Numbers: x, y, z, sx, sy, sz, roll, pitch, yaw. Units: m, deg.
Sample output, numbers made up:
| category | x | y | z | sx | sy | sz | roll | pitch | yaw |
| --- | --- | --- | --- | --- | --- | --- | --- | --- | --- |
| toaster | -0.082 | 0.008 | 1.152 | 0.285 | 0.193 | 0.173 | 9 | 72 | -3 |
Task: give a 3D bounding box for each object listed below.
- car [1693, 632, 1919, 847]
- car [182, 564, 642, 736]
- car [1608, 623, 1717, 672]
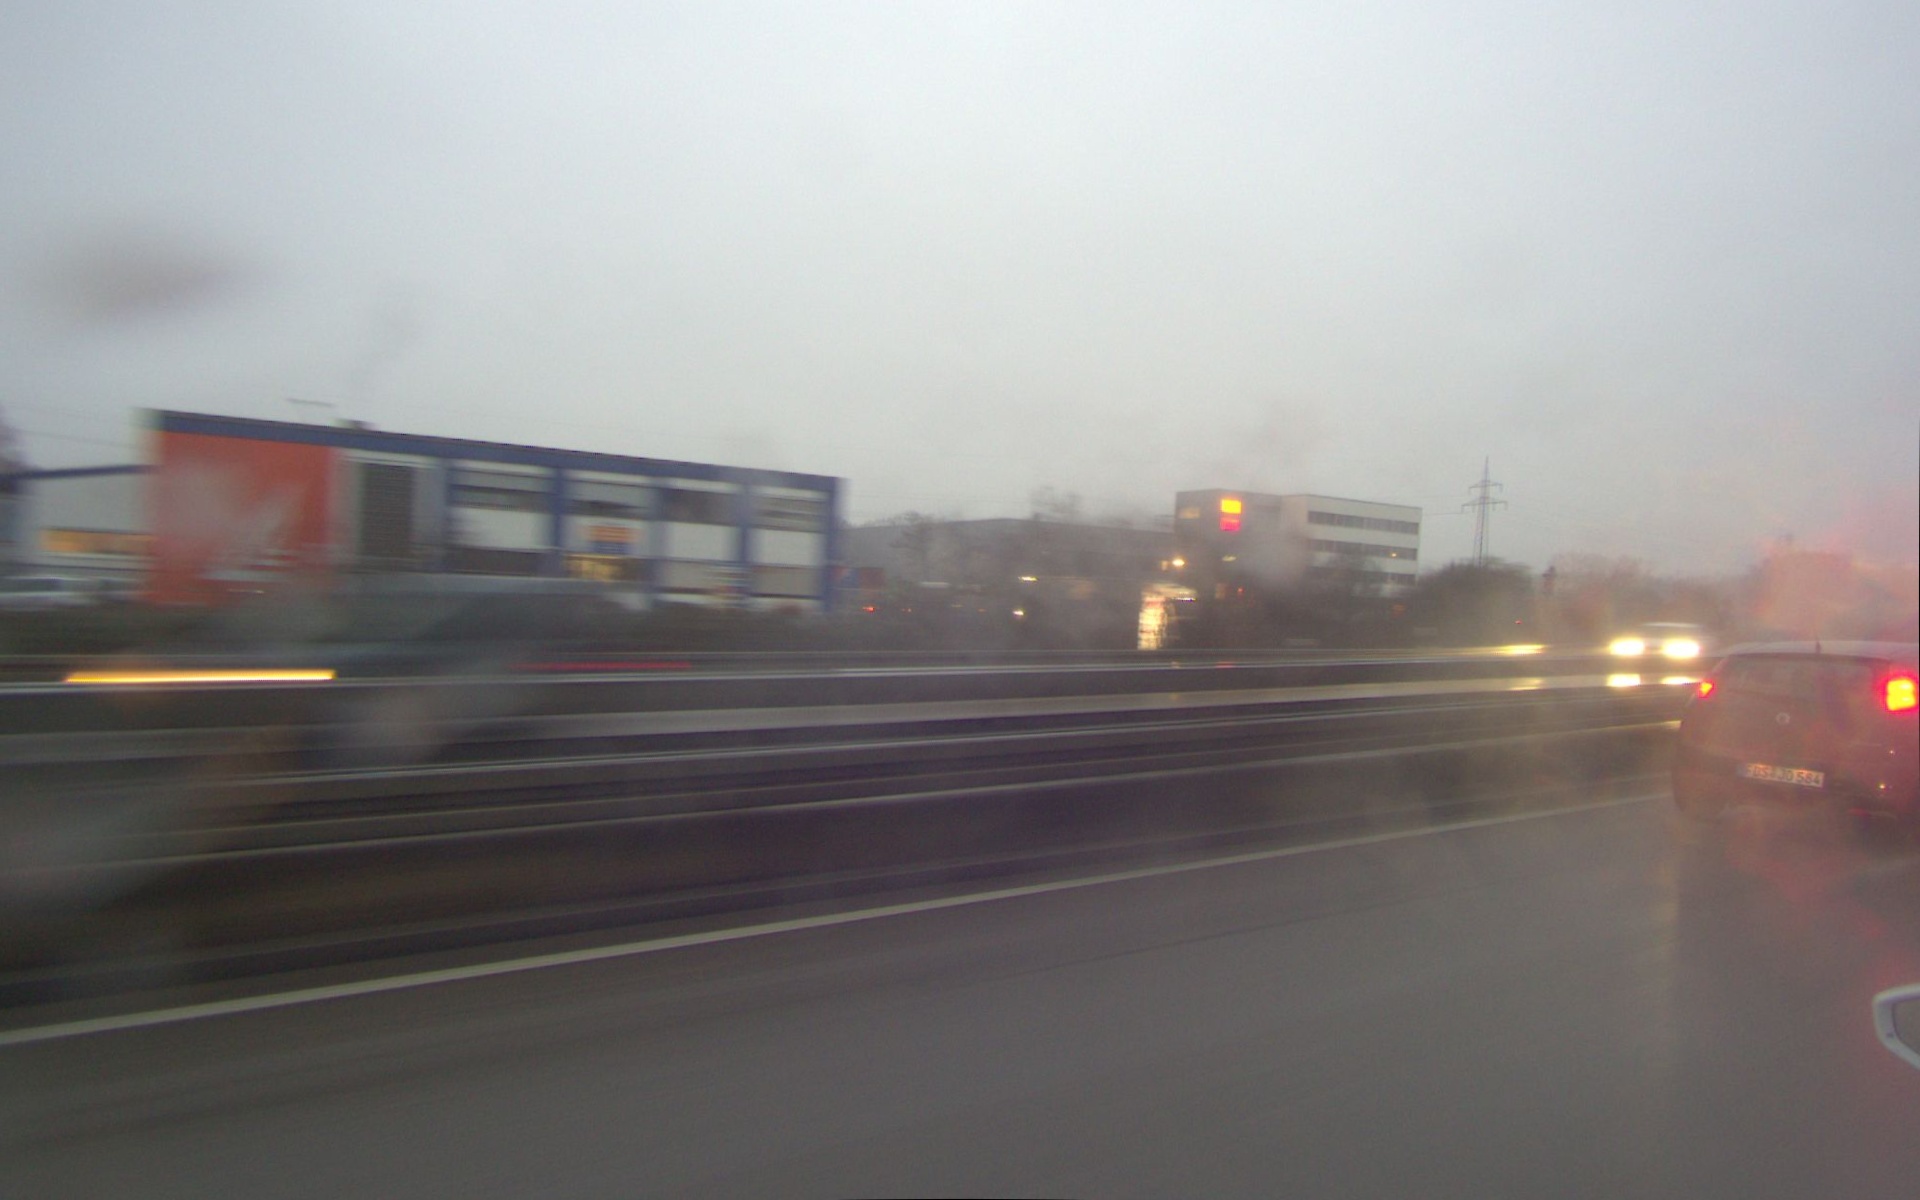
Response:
| category | x | y | z | sx | sy | sz | roll | pitch | yaw |
| --- | --- | --- | --- | --- | --- | --- | --- | --- | --- |
| car | 7.955 | 1.019 | 8.360 | 3.955 | 1.410 | 1.617 | 2 | 0 | -32 |
| car | -6.188 | 0.545 | 11.820 | 4.374 | 1.695 | 1.985 | 1 | -1 | -29 |
| car | 22.425 | 1.483 | 32.027 | 4.042 | 1.439 | 1.660 | 2 | -1 | -36 |
